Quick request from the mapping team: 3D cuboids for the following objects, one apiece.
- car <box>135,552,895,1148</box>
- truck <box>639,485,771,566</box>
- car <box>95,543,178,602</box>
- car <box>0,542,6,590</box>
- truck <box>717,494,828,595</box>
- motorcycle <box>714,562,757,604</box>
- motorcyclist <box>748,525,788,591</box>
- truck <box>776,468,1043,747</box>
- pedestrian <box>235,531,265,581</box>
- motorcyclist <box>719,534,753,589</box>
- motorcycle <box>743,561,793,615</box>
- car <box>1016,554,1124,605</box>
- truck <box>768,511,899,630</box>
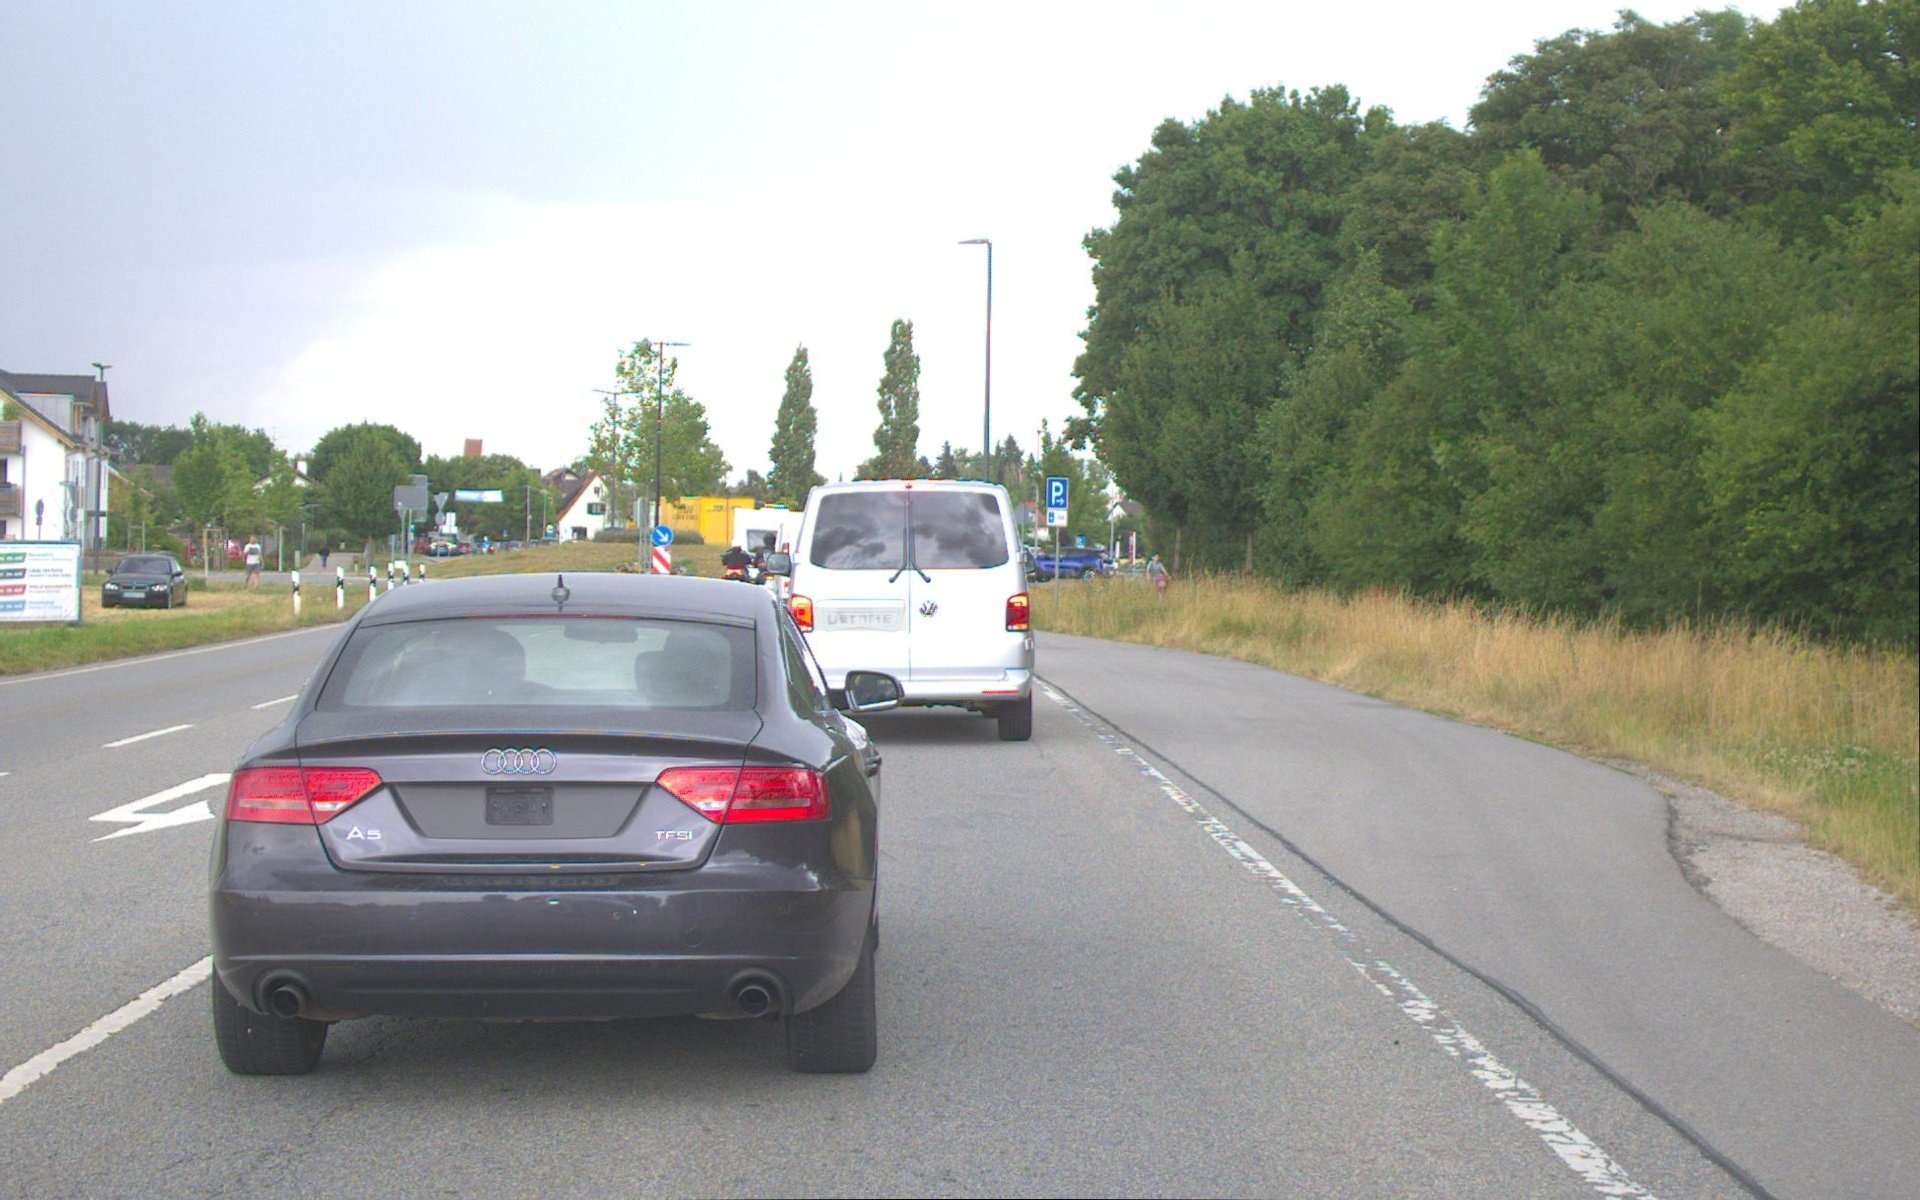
[{"bbox_3d":[-1.161,0.594,10.616,1.875,1.449,4.177,0,1,-2],"label":"car"},{"bbox_3d":[-11.935,-3.484,159.805,3.575,3.566,9.960,1,1,-19],"label":"truck"},{"bbox_3d":[-21.602,-0.735,90.336,1.993,1.437,4.001,1,2,-12],"label":"car"},{"bbox_3d":[-30.513,-1.022,102.594,1.995,1.441,4.208,1,1,17],"label":"car"},{"bbox_3d":[-5.388,-1.573,98.131,2.625,2.728,5.869,1,1,-8],"label":"truck"},{"bbox_3d":[-5.686,-0.430,87.053,0.944,1.016,2.284,1,1,-7],"label":"motorcycle"},{"bbox_3d":[-4.046,-0.887,72.390,0.772,1.379,0.820,1,1,0],"label":"motorcyclist"},{"bbox_3d":[-0.401,0.015,27.163,1.904,1.991,4.629,1,1,-1],"label":"truck"},{"bbox_3d":[-22.511,-1.395,109.004,0.701,1.580,0.657,1,1,16],"label":"pedestrian"},{"bbox_3d":[-5.669,-0.978,86.879,0.785,1.352,0.854,1,1,-7],"label":"motorcyclist"},{"bbox_3d":[-4.037,-0.261,72.476,0.920,1.090,2.189,1,1,0],"label":"motorcycle"},{"bbox_3d":[4.515,-0.844,141.474,3.991,2.007,1.998,2,1,19],"label":"car"},{"bbox_3d":[-2.205,-0.536,61.288,2.193,2.007,5.085,1,1,-1],"label":"truck"}]
